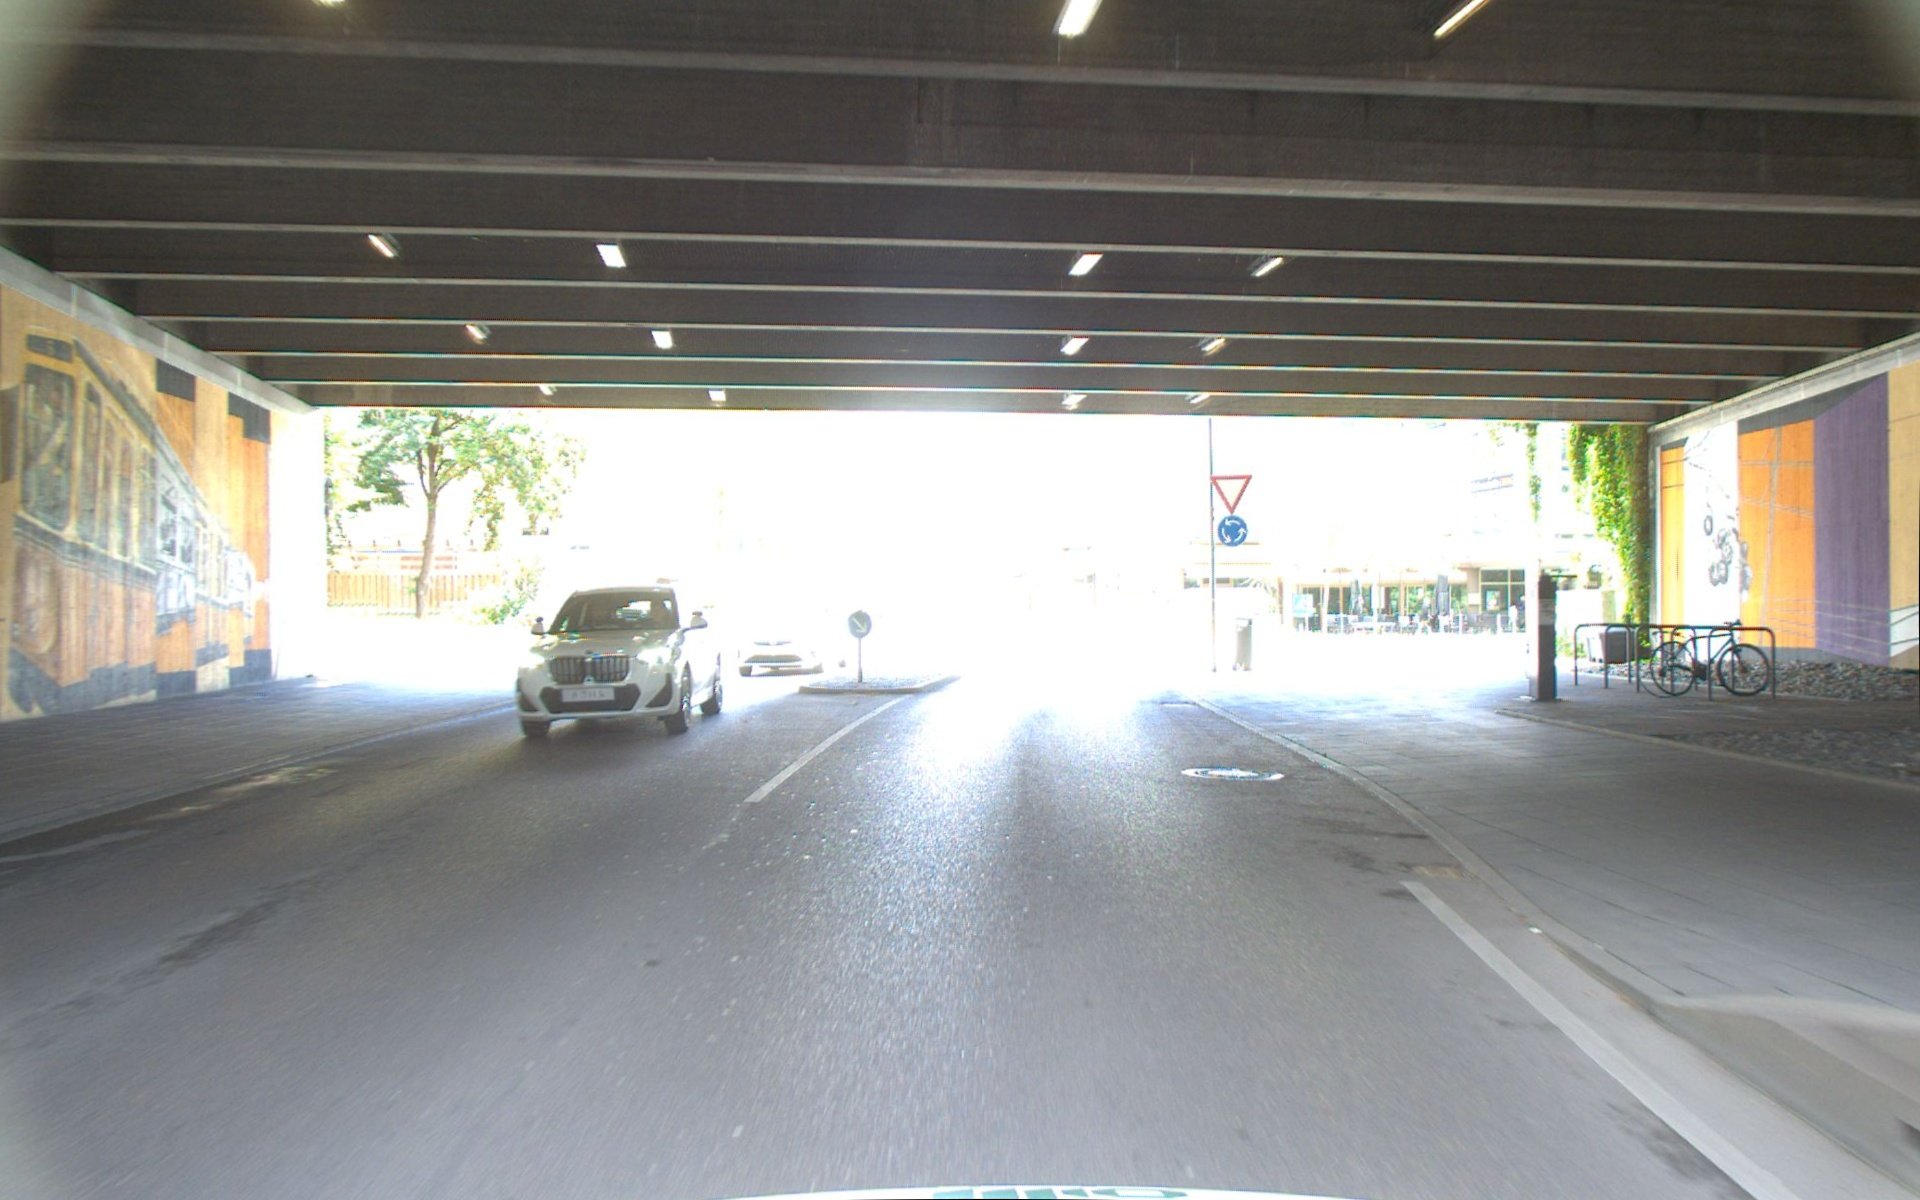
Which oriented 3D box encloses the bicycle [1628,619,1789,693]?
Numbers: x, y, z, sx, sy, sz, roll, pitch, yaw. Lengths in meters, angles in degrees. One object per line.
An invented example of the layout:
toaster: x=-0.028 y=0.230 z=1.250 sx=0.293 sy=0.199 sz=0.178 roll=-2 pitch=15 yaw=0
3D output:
bicycle: x=9.834 y=0.729 z=21.759 sx=1.907 sy=0.920 sz=0.506 roll=-1 pitch=-1 yaw=-5

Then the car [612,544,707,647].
car: x=-8.261 y=-0.123 z=45.956 sx=1.929 sy=2.652 sz=5.925 roll=1 pitch=0 yaw=-4

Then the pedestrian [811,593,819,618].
pedestrian: x=-10.047 y=0.382 z=114.607 sx=0.540 sy=1.715 sz=0.516 roll=0 pitch=0 yaw=-3

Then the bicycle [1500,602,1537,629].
bicycle: x=25.820 y=0.713 z=76.469 sx=1.511 sy=1.188 sz=0.494 roll=1 pitch=-1 yaw=33

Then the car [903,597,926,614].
car: x=-3.681 y=0.448 z=133.789 sx=1.676 sy=1.378 sz=3.997 roll=0 pitch=0 yaw=-4

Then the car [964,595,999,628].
car: x=1.230 y=0.648 z=93.646 sx=1.786 sy=1.761 sz=4.234 roll=-1 pitch=0 yaw=3

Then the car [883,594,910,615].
car: x=-4.310 y=0.299 z=111.663 sx=1.676 sy=1.378 sz=3.997 roll=0 pitch=0 yaw=-4

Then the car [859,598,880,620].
car: x=-7.336 y=0.684 z=133.996 sx=1.676 sy=1.742 sz=3.997 roll=0 pitch=0 yaw=-4

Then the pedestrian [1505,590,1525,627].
pedestrian: x=25.730 y=0.405 z=76.673 sx=0.683 sy=1.704 sz=0.616 roll=1 pitch=0 yaw=-11

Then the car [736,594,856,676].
car: x=-3.170 y=0.650 z=32.635 sx=1.636 sy=1.473 sz=3.855 roll=-1 pitch=0 yaw=5

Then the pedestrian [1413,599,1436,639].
pedestrian: x=19.730 y=0.805 z=70.223 sx=0.686 sy=1.704 sz=0.613 roll=1 pitch=0 yaw=-24

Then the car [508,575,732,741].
car: x=-3.811 y=0.593 z=19.242 sx=1.788 sy=1.682 sz=4.213 roll=-1 pitch=0 yaw=-2

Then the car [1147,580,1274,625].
car: x=9.934 y=0.116 z=65.802 sx=4.597 sy=1.717 sz=1.993 roll=-1 pitch=0 yaw=35

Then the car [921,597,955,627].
car: x=-1.175 y=0.630 z=89.197 sx=1.787 sy=1.546 sz=4.232 roll=-1 pitch=0 yaw=-1
